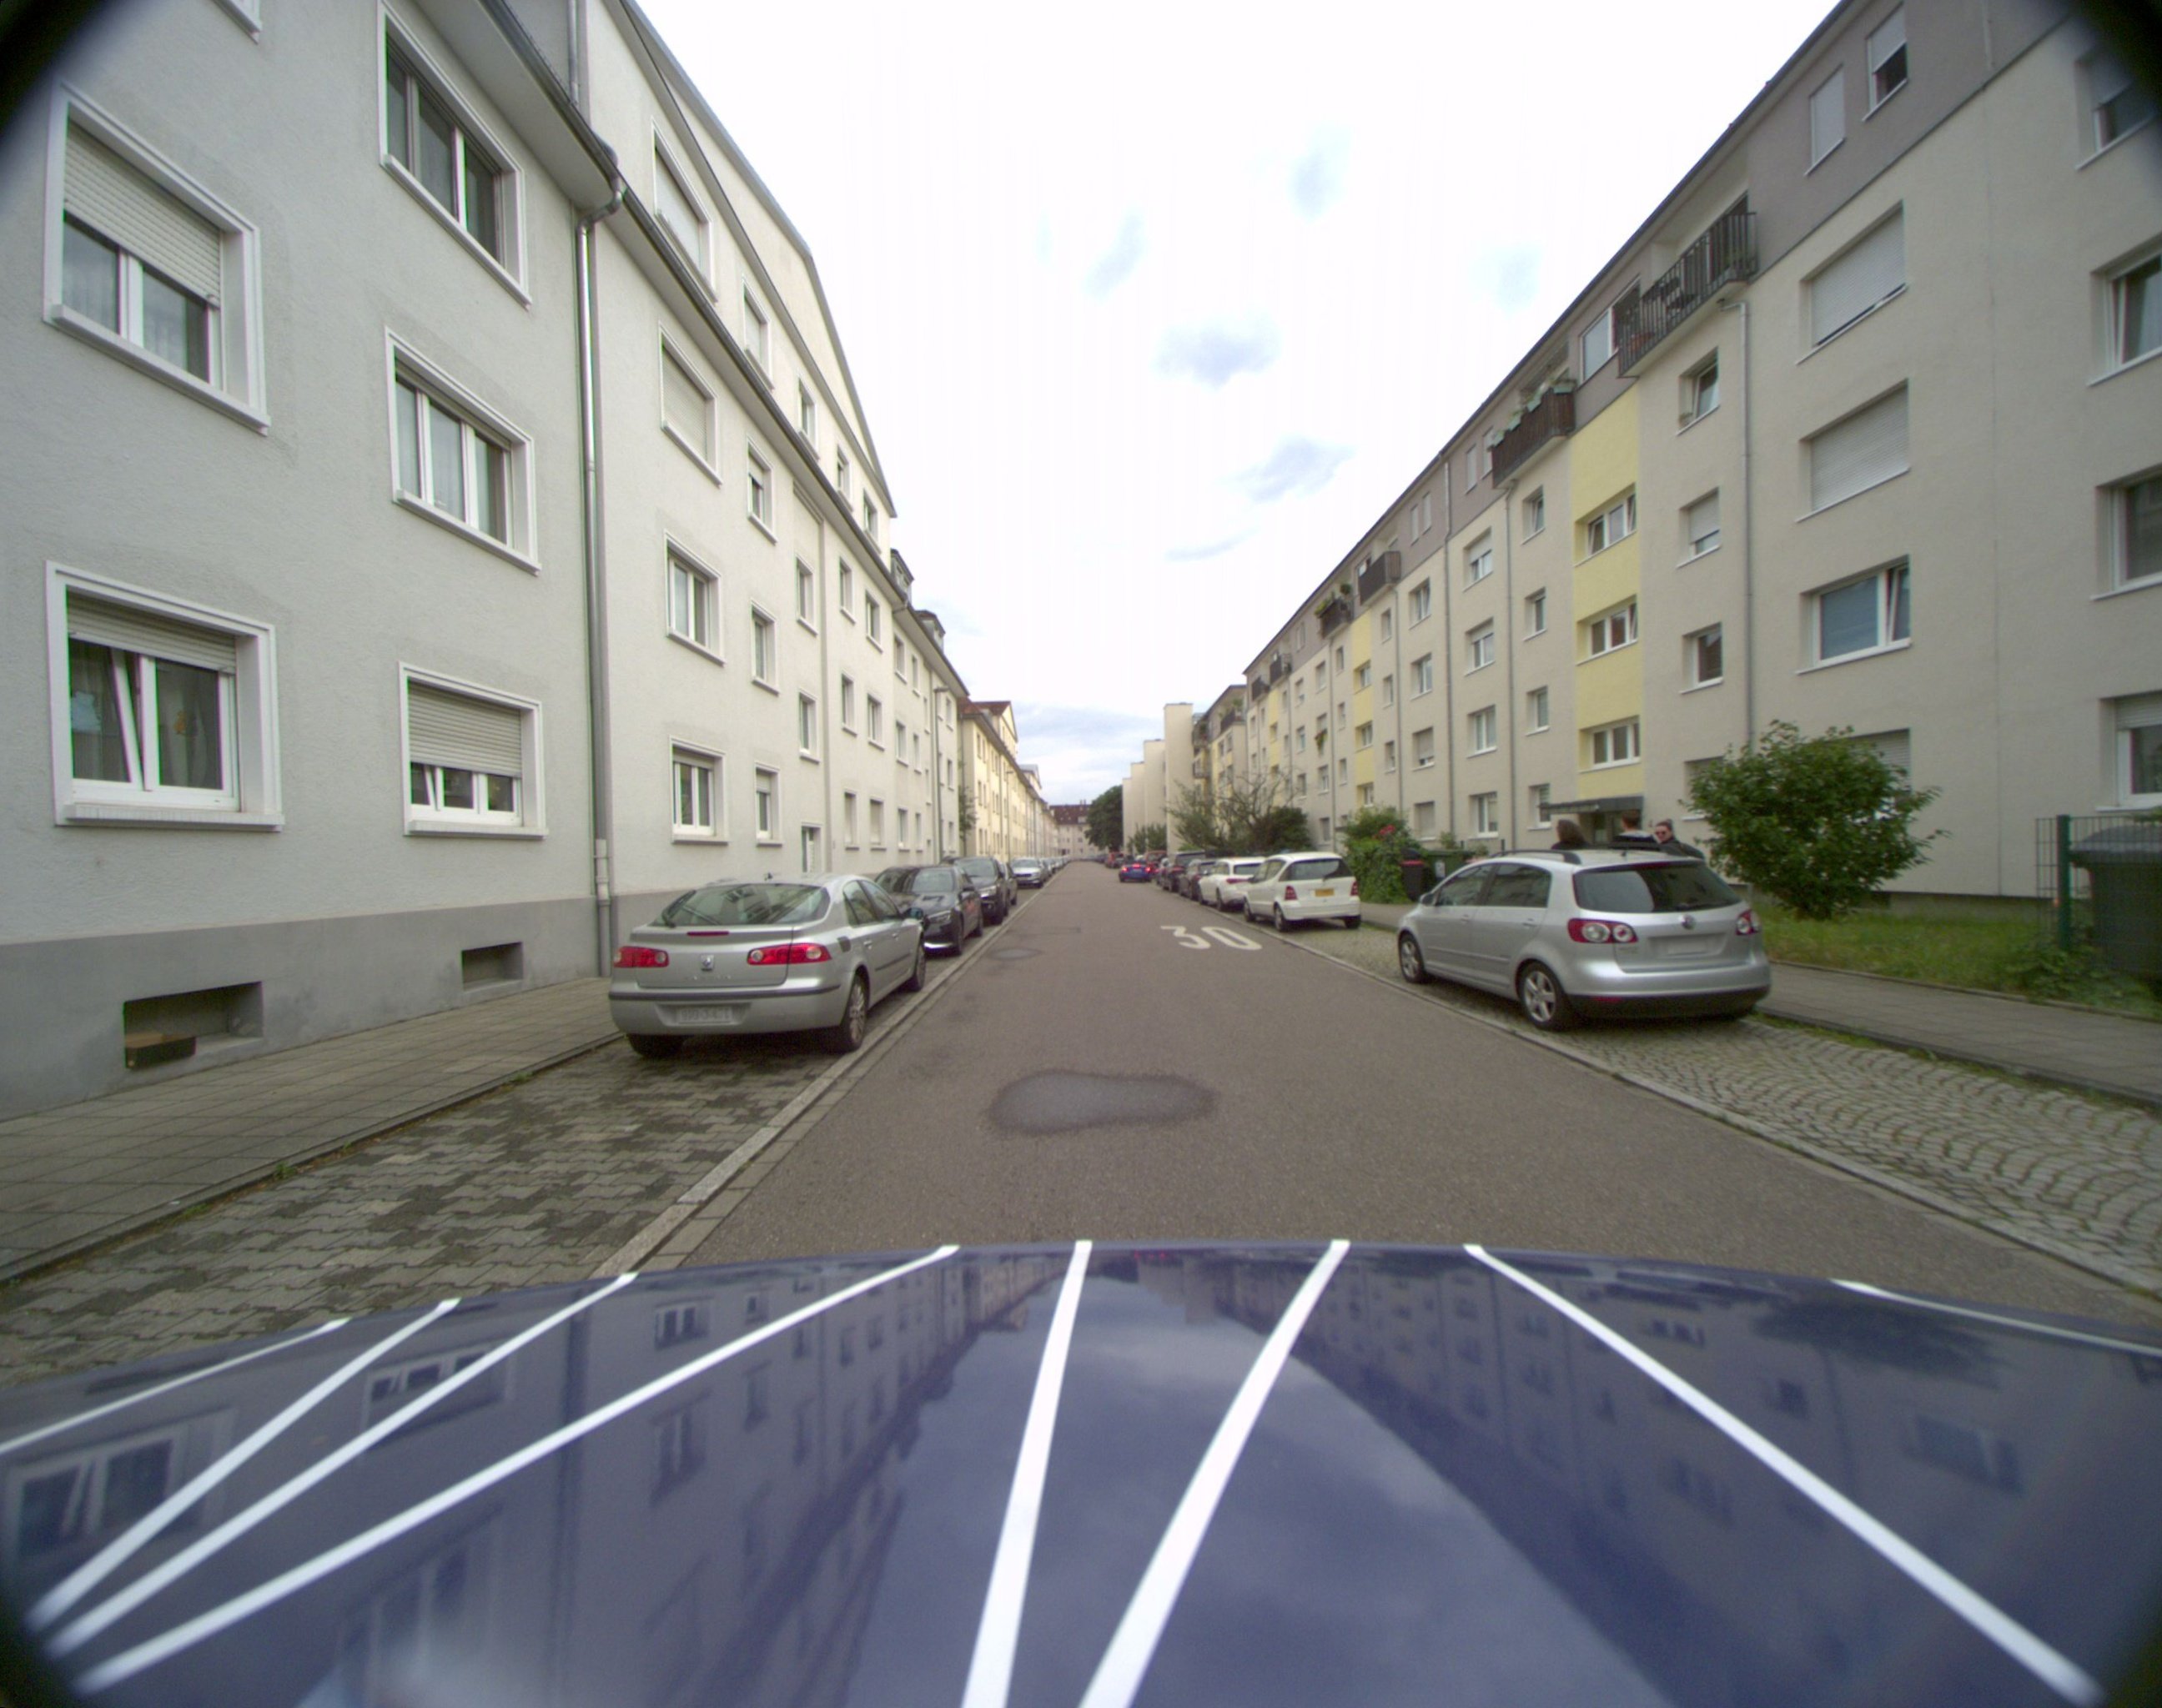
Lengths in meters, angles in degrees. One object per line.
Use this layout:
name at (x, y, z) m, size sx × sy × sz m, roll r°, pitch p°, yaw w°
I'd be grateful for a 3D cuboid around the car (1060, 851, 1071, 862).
car at (-2.571, 0.394, 125.324) m, size 1.737 × 1.670 × 3.591 m, roll -1°, pitch 0°, yaw -1°

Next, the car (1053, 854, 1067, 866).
car at (-2.699, 0.705, 96.297) m, size 1.737 × 1.443 × 4.217 m, roll -1°, pitch 0°, yaw -1°

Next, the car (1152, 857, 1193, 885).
car at (4.810, 0.867, 40.418) m, size 1.575 × 1.389 × 3.541 m, roll -1°, pitch 0°, yaw -3°

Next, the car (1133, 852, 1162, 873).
car at (4.979, 0.629, 57.160) m, size 1.707 × 1.436 × 3.541 m, roll -1°, pitch 0°, yaw -3°

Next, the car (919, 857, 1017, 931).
car at (-2.635, 0.882, 18.622) m, size 1.853 × 1.589 × 4.159 m, roll -1°, pitch 0°, yaw -1°

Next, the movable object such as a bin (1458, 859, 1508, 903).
movable object such as a bin at (10.617, 0.708, 20.092) m, size 0.871 × 1.103 × 0.787 m, roll -2°, pitch 2°, yaw -4°

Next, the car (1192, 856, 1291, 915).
car at (4.586, 0.846, 22.396) m, size 1.723 × 1.501 × 4.686 m, roll -1°, pitch 0°, yaw -3°

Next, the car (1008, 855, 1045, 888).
car at (-2.784, 0.873, 39.461) m, size 1.737 × 1.538 × 3.677 m, roll -1°, pitch 1°, yaw -1°

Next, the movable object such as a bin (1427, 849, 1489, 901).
movable object such as a bin at (10.474, 0.559, 21.156) m, size 1.059 × 1.367 × 1.188 m, roll -2°, pitch 2°, yaw -5°

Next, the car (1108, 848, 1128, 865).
car at (4.716, 0.340, 97.361) m, size 2.188 × 2.019 × 4.422 m, roll -1°, pitch 0°, yaw -3°

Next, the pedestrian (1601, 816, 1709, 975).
pedestrian at (6.964, 0.486, 9.250) m, size 0.708 × 1.843 × 0.763 m, roll -1°, pitch 0°, yaw 0°

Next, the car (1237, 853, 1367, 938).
car at (4.728, 0.810, 16.793) m, size 1.689 × 1.629 × 3.727 m, roll -1°, pitch 0°, yaw -1°

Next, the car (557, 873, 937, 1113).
car at (-2.628, 0.975, 7.252) m, size 1.737 × 1.454 × 4.430 m, roll -1°, pitch 0°, yaw -1°

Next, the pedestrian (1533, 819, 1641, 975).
pedestrian at (6.395, 0.519, 9.656) m, size 0.642 × 1.853 × 0.974 m, roll -3°, pitch 0°, yaw 0°

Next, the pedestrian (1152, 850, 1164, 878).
pedestrian at (4.660, 0.610, 46.134) m, size 0.603 × 1.657 × 0.622 m, roll -1°, pitch 1°, yaw -3°

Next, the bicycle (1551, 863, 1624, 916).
bicycle at (10.557, 0.713, 15.892) m, size 0.421 × 1.018 × 1.559 m, roll -1°, pitch 0°, yaw -3°

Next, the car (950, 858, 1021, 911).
car at (-2.883, 0.889, 23.681) m, size 1.737 × 1.478 × 3.756 m, roll -1°, pitch 0°, yaw 0°

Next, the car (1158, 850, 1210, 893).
car at (4.492, 0.743, 33.606) m, size 1.575 × 1.769 × 4.452 m, roll -1°, pitch 0°, yaw -1°

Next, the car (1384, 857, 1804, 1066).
car at (4.737, 0.838, 7.815) m, size 1.658 × 1.541 × 3.915 m, roll -2°, pitch 0°, yaw 1°

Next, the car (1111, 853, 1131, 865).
car at (4.781, 0.585, 91.126) m, size 2.013 × 1.436 × 4.196 m, roll -1°, pitch 0°, yaw -3°

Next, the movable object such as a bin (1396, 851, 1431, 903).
movable object such as a bin at (9.020, 0.621, 20.640) m, size 0.659 × 1.360 × 0.587 m, roll -2°, pitch 2°, yaw -4°

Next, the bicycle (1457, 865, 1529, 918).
bicycle at (8.693, 0.754, 16.100) m, size 0.489 × 1.018 × 1.878 m, roll -1°, pitch 0°, yaw 0°

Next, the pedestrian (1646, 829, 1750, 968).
pedestrian at (7.655, 0.528, 9.458) m, size 0.616 × 1.647 × 0.803 m, roll -1°, pitch 0°, yaw 0°

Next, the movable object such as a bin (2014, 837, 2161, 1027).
movable object such as a bin at (8.896, 0.569, 5.758) m, size 1.593 × 1.412 × 1.671 m, roll -2°, pitch 0°, yaw -1°

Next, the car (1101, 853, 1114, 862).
car at (4.744, 0.686, 135.876) m, size 1.746 × 1.534 × 3.636 m, roll -1°, pitch 0°, yaw -6°

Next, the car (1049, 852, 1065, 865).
car at (-2.727, 0.547, 86.504) m, size 1.737 × 1.443 × 4.217 m, roll -1°, pitch 0°, yaw -1°

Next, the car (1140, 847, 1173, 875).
car at (5.017, 0.483, 50.971) m, size 1.707 × 1.795 × 3.541 m, roll -1°, pitch 0°, yaw -3°

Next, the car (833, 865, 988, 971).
car at (-2.724, 0.954, 13.151) m, size 1.786 × 1.454 × 4.322 m, roll -1°, pitch 0°, yaw -1°

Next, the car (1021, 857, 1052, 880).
car at (-2.815, 0.891, 48.375) m, size 1.737 × 1.418 × 4.217 m, roll -1°, pitch 0°, yaw 0°

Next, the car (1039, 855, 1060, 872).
car at (-2.762, 0.824, 67.327) m, size 1.737 × 1.363 × 4.217 m, roll -1°, pitch 0°, yaw -1°

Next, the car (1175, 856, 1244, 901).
car at (4.562, 0.817, 27.578) m, size 1.729 × 1.445 × 4.482 m, roll -1°, pitch 0°, yaw 0°

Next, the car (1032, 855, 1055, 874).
car at (-2.900, 0.827, 59.616) m, size 1.737 × 1.402 × 4.217 m, roll -1°, pitch 0°, yaw -1°

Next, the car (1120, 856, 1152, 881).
car at (3.266, 0.855, 45.625) m, size 1.680 × 1.307 × 3.907 m, roll -1°, pitch 1°, yaw 1°
